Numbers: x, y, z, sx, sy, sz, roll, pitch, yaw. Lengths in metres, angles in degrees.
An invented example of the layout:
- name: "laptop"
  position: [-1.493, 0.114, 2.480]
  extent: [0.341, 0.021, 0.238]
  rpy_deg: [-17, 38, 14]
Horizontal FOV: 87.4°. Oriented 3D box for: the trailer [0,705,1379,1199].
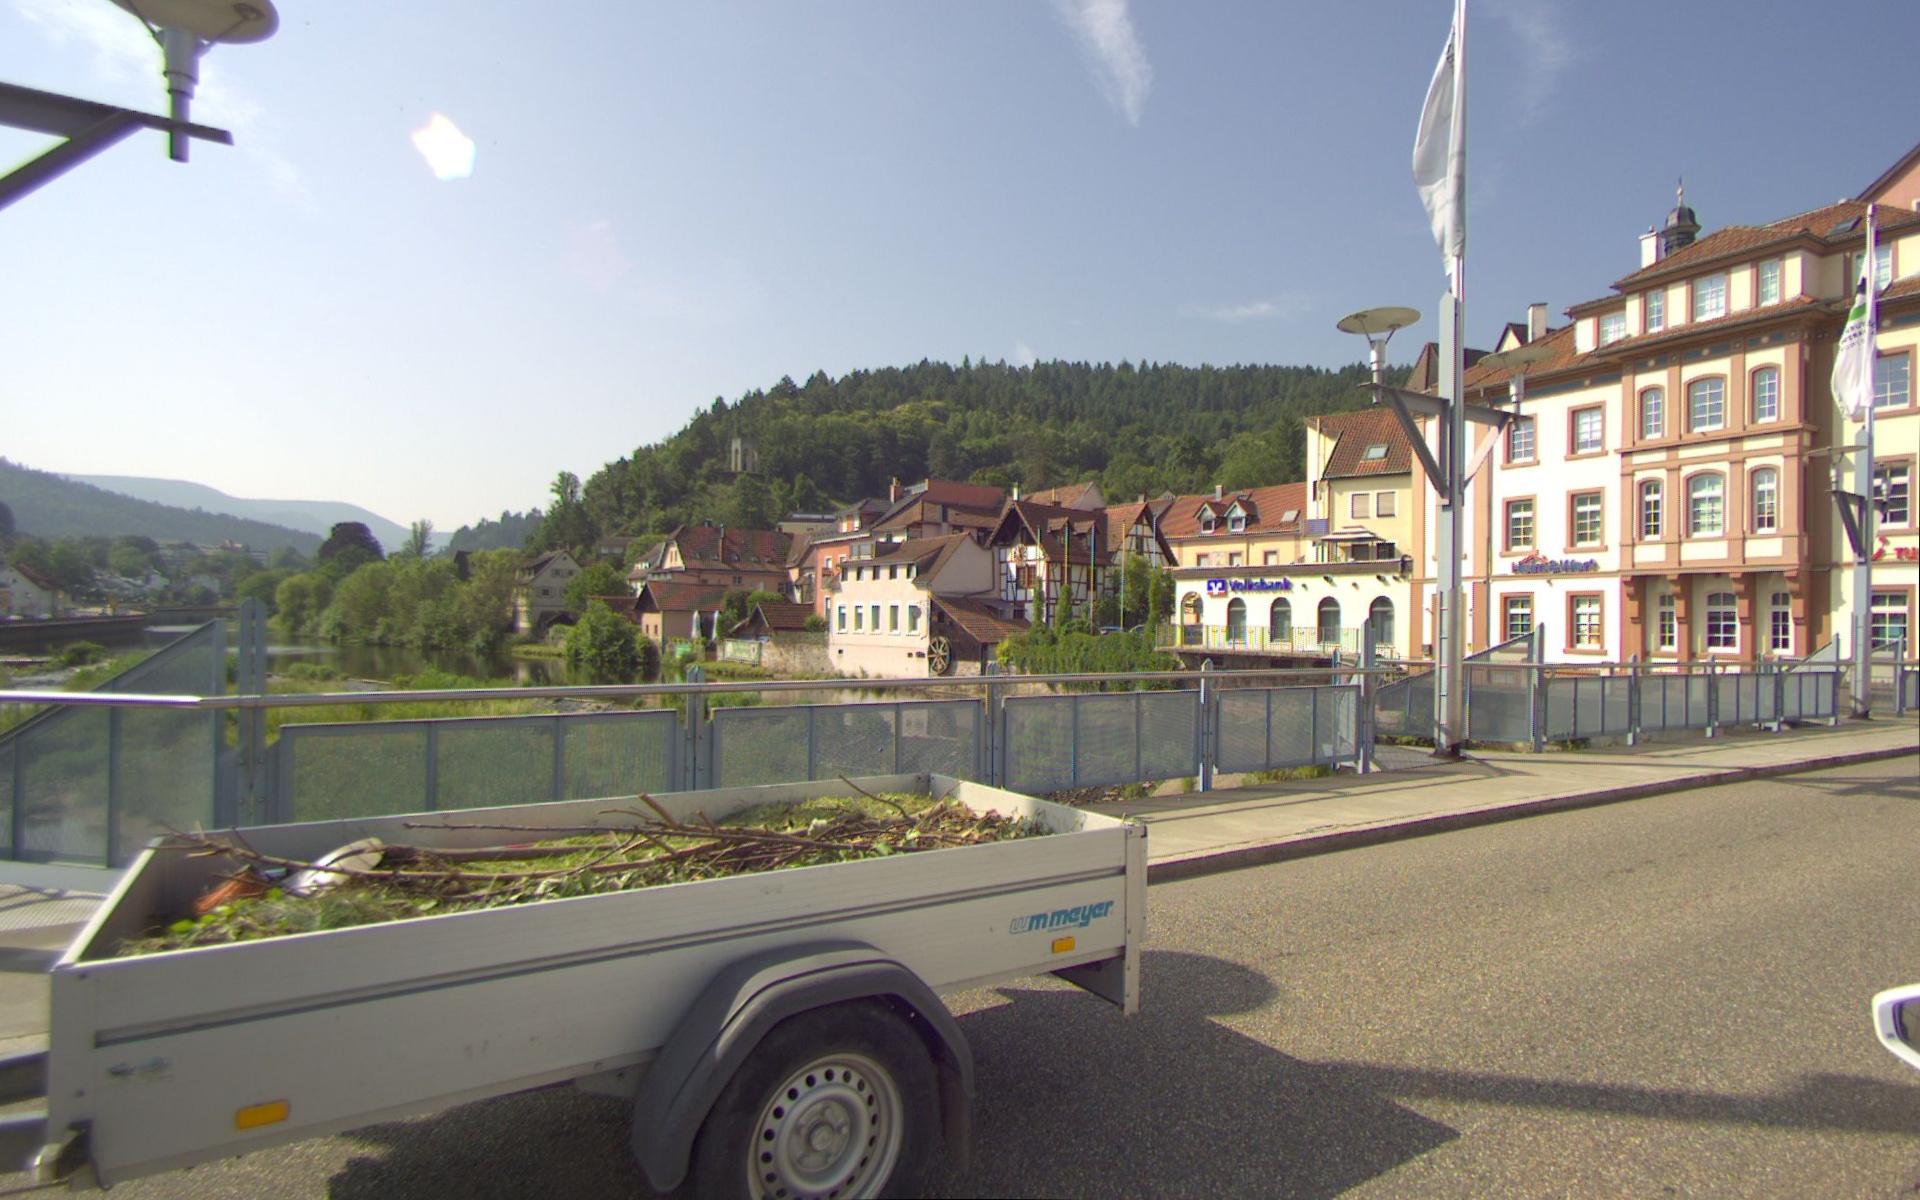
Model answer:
- name: "trailer"
  position: [-0.820, 0.968, 2.889]
  extent: [4.141, 1.035, 1.740]
  rpy_deg: [1, -2, -33]
